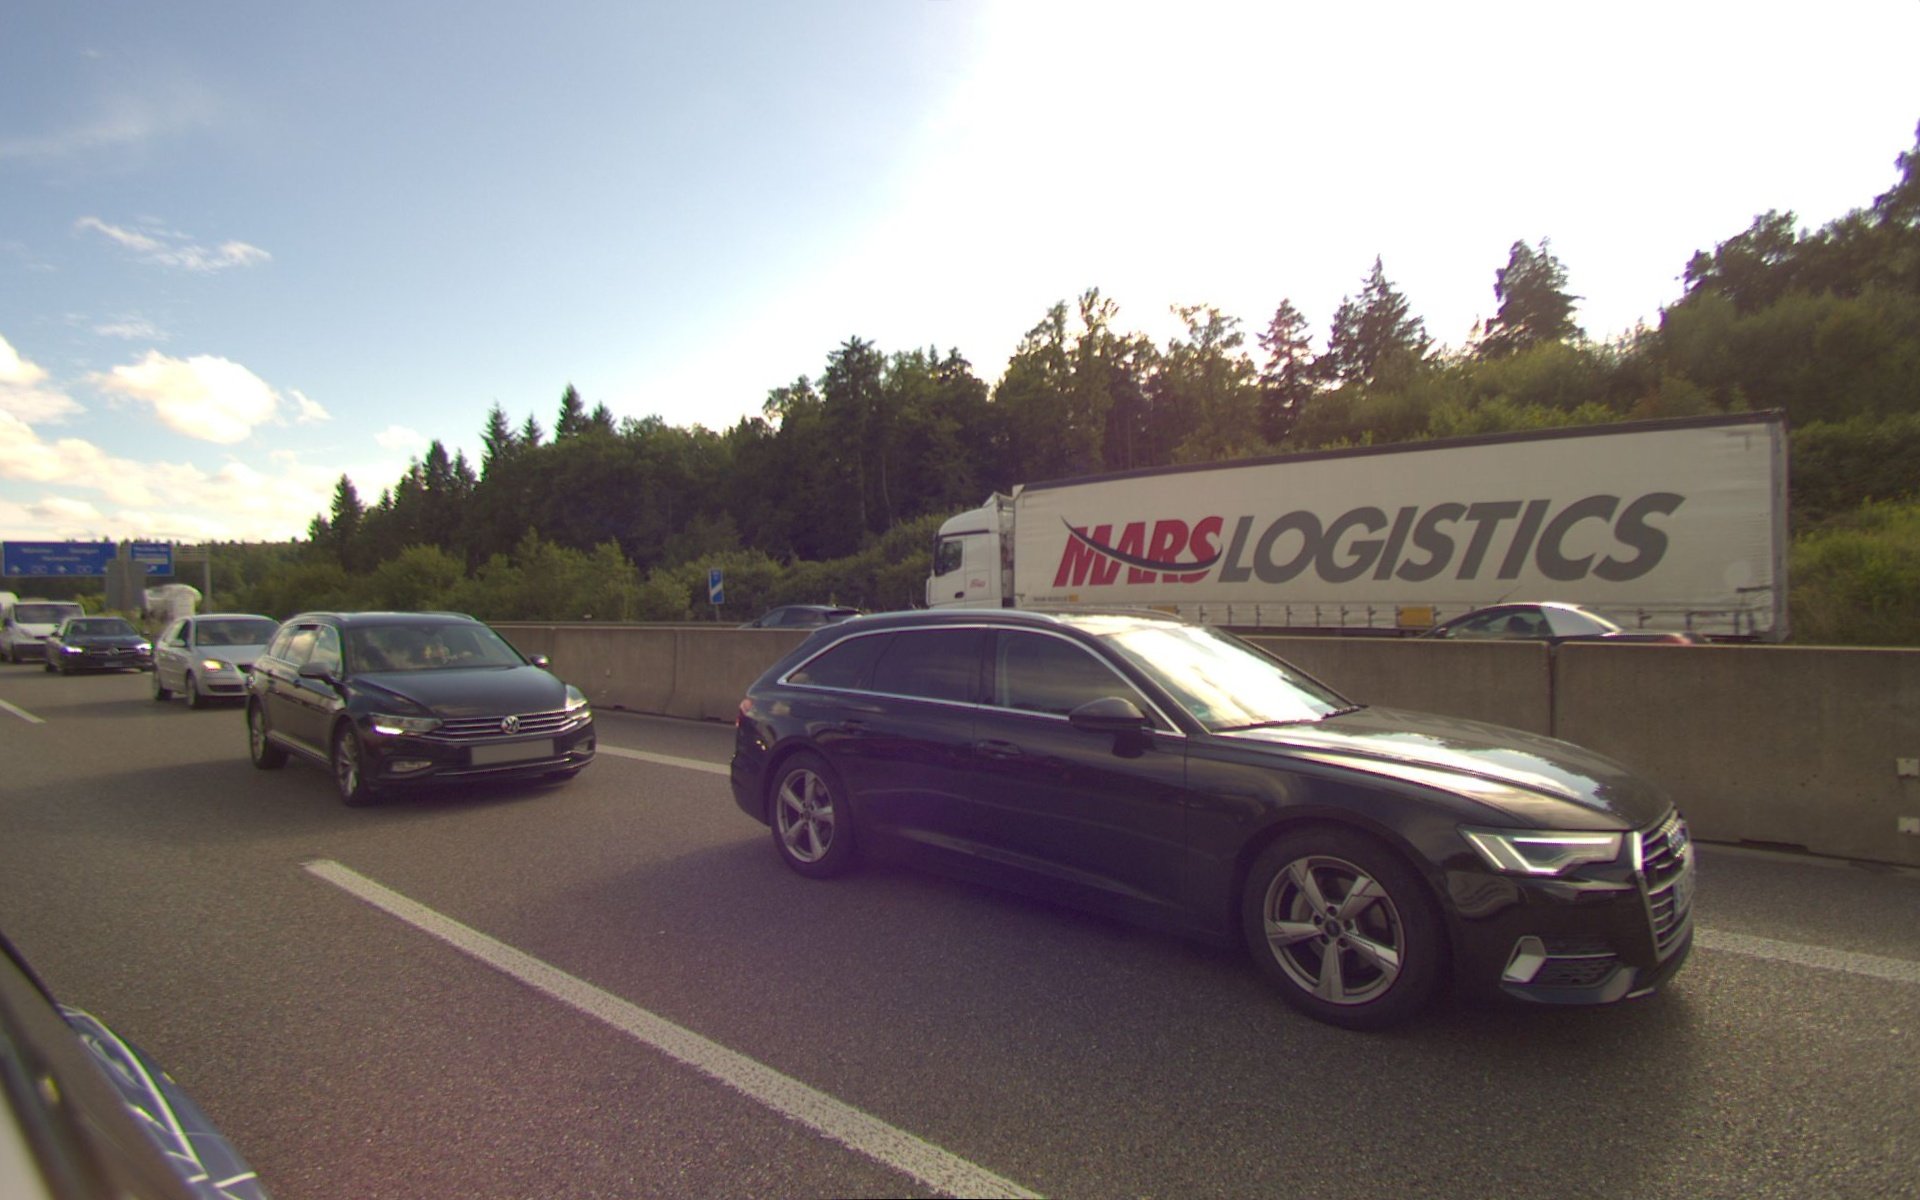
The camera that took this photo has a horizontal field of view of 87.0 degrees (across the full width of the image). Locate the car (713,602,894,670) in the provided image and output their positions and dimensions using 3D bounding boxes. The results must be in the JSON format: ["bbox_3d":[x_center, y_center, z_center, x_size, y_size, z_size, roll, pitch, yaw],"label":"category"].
[{"bbox_3d":[-3.781,0.816,24.064,4.322,1.438,1.934,-1,0,41],"label":"car"}]

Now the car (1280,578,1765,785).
[{"bbox_3d":[5.955,0.742,11.027,4.322,1.823,1.833,-1,0,41],"label":"car"}]

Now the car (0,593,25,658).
[{"bbox_3d":[-40.984,1.056,42.439,5.860,2.591,2.027,-1,-2,42],"label":"car"}]

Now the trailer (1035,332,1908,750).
[{"bbox_3d":[7.828,-0.721,18.593,13.829,5.320,3.010,0,0,41],"label":"trailer"}]

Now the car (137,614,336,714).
[{"bbox_3d":[-12.356,0.994,17.162,4.665,1.442,1.785,-1,0,42],"label":"car"}]

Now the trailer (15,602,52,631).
[{"bbox_3d":[-142.110,2.479,155.216,13.557,4.234,2.804,0,0,42],"label":"trailer"}]

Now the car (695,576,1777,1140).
[{"bbox_3d":[0.854,0.705,5.006,4.851,1.483,1.862,-1,0,43],"label":"car"}]

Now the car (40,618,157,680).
[{"bbox_3d":[-22.261,1.203,26.109,3.993,1.442,1.785,-1,0,42],"label":"car"}]

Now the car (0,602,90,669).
[{"bbox_3d":[-29.807,1.099,32.717,4.846,1.980,1.922,-1,0,42],"label":"car"}]

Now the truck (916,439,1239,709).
[{"bbox_3d":[2.519,-0.512,23.245,6.880,5.292,3.008,-1,0,41],"label":"truck"}]

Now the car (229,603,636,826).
[{"bbox_3d":[-4.898,0.801,9.046,4.569,1.488,1.890,-1,-1,44],"label":"car"}]

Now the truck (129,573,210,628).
[{"bbox_3d":[-68.044,0.079,86.890,13.904,4.386,2.902,0,0,41],"label":"truck"}]
